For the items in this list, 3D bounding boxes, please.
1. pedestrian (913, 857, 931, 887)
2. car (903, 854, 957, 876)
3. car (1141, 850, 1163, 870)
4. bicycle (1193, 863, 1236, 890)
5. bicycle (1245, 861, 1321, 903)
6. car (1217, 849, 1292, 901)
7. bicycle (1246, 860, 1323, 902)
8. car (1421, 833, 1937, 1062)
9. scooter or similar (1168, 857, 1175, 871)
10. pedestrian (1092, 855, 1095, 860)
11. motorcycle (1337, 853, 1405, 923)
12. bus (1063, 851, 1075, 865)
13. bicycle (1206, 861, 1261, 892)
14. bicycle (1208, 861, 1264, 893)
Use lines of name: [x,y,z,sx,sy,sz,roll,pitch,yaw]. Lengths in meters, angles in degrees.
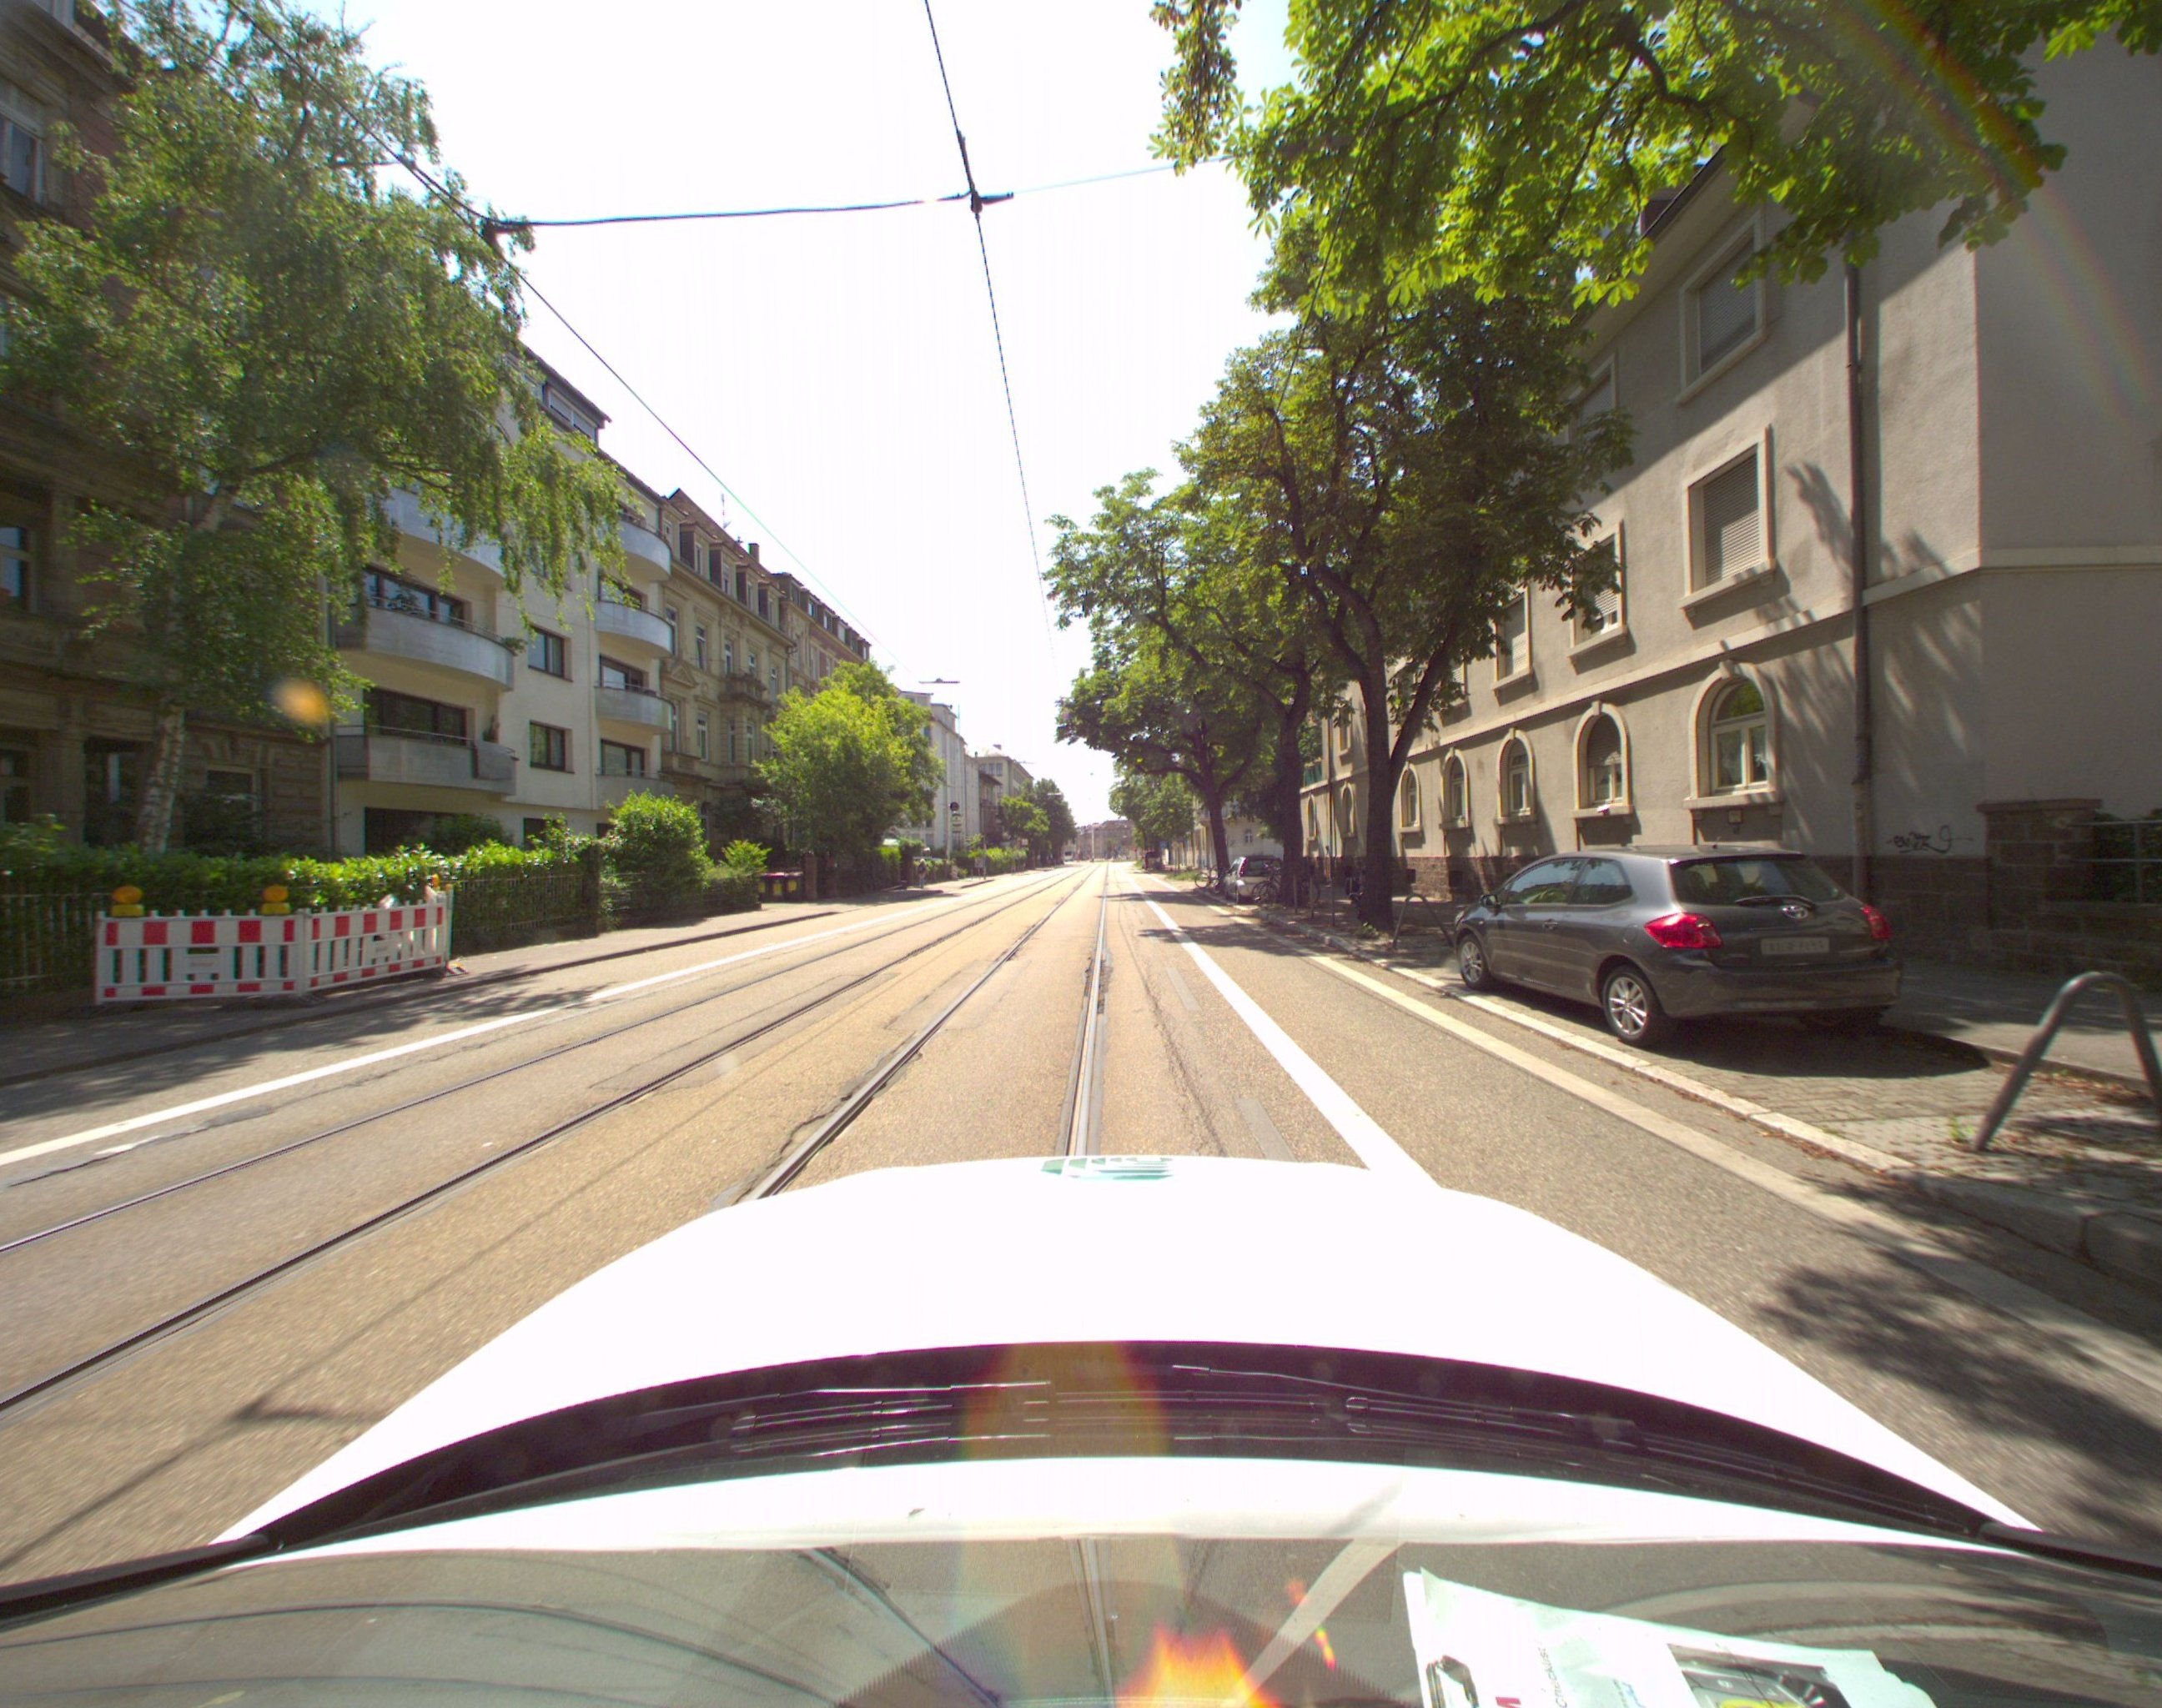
pedestrian: [-8.678,0.976,44.571,0.747,1.629,0.834,-1,-1,5]
car: [-13.842,0.997,74.669,4.445,1.904,2.009,-1,0,18]
car: [7.399,0.603,84.884,1.986,2.035,4.699,-1,0,2]
bicycle: [5.868,0.984,35.845,1.809,1.113,0.493,-2,-2,1]
bicycle: [5.344,0.738,21.627,1.879,1.052,0.539,-1,-1,8]
car: [5.501,0.657,26.190,1.616,1.448,3.811,-4,-1,2]
bicycle: [5.449,0.725,21.903,1.952,1.063,0.600,-1,-1,8]
car: [5.021,0.633,7.764,1.768,1.501,4.306,-3,0,1]
scooter or similar: [8.049,0.843,72.606,0.499,1.230,1.574,-1,0,2]
pedestrian: [2.824,0.816,189.091,0.493,1.173,0.585,-1,0,-22]
motorcycle: [5.834,0.639,16.529,0.989,1.299,2.387,-2,0,13]
bus: [-3.532,1.273,243.342,2.920,3.937,11.278,1,-1,2]
bicycle: [5.843,0.875,31.287,2.001,1.113,0.640,-2,-2,3]
bicycle: [5.818,0.871,30.658,1.954,1.113,0.599,-2,-2,3]
